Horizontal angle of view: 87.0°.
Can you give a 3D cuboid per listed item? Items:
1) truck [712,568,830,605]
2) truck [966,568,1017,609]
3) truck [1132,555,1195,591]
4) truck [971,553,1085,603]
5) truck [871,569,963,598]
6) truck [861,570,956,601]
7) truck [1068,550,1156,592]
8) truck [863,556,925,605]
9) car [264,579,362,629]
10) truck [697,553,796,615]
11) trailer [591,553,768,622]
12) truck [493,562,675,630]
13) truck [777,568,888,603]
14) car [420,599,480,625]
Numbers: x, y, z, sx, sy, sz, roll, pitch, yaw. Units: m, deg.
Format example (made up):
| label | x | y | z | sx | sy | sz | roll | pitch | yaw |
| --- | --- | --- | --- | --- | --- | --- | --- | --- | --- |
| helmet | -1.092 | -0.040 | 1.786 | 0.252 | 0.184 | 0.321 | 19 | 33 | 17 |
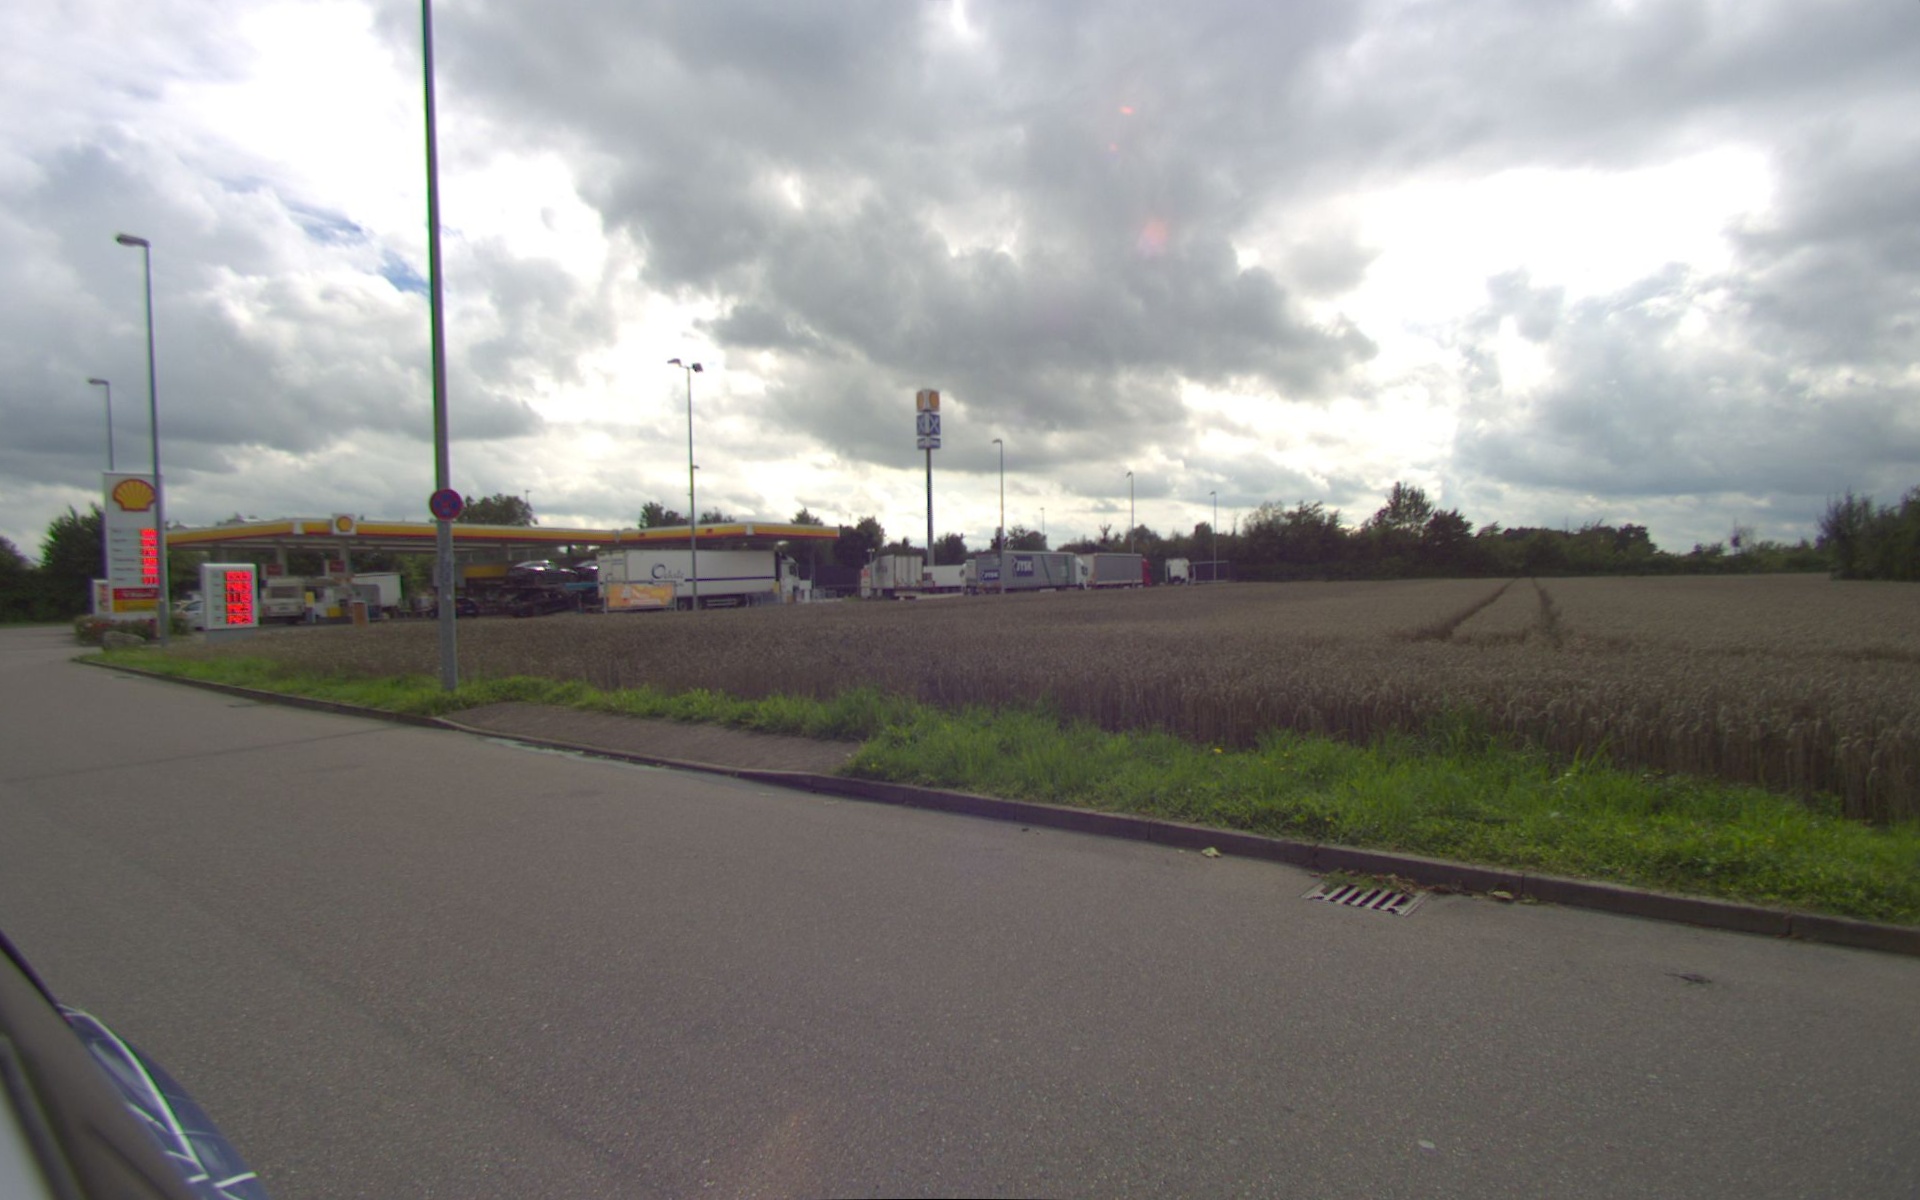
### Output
| label | x | y | z | sx | sy | sz | roll | pitch | yaw |
| --- | --- | --- | --- | --- | --- | --- | --- | --- | --- |
| truck | -20.987 | -1.527 | 112.415 | 12.593 | 3.922 | 2.832 | -1 | 1 | -15 |
| truck | 3.311 | -1.326 | 111.184 | 2.946 | 4.141 | 11.602 | -2 | 1 | -11 |
| truck | 23.894 | -3.177 | 118.073 | 2.816 | 3.922 | 12.668 | 0 | 1 | 32 |
| truck | 6.155 | -1.949 | 86.841 | 2.816 | 3.922 | 15.291 | 0 | 1 | 32 |
| truck | -6.112 | -2.337 | 143.975 | 12.593 | 3.922 | 2.832 | -1 | 1 | -15 |
| truck | -6.972 | -1.980 | 138.289 | 12.593 | 3.922 | 2.832 | -1 | 1 | -15 |
| truck | 15.673 | -2.966 | 102.765 | 2.816 | 3.922 | 15.291 | 0 | 1 | 32 |
| truck | -6.329 | -1.797 | 94.151 | 2.913 | 4.143 | 14.791 | -1 | 1 | -15 |
| car | -38.614 | 0.197 | 60.585 | 2.192 | 2.807 | 5.811 | -2 | 1 | -2 |
| truck | -14.829 | -1.130 | 70.858 | 2.702 | 4.055 | 7.096 | -2 | 1 | 30 |
| trailer | -17.783 | -0.886 | 65.665 | 2.702 | 4.055 | 12.717 | -2 | 1 | 30 |
| truck | -23.638 | -0.386 | 64.917 | 2.734 | 3.953 | 13.160 | 0 | 1 | 22 |
| truck | -15.245 | -1.759 | 120.782 | 12.796 | 3.922 | 2.832 | -1 | 1 | -14 |
| car | -34.579 | 0.823 | 68.636 | 3.742 | 1.613 | 1.701 | -2 | 1 | 27 |
